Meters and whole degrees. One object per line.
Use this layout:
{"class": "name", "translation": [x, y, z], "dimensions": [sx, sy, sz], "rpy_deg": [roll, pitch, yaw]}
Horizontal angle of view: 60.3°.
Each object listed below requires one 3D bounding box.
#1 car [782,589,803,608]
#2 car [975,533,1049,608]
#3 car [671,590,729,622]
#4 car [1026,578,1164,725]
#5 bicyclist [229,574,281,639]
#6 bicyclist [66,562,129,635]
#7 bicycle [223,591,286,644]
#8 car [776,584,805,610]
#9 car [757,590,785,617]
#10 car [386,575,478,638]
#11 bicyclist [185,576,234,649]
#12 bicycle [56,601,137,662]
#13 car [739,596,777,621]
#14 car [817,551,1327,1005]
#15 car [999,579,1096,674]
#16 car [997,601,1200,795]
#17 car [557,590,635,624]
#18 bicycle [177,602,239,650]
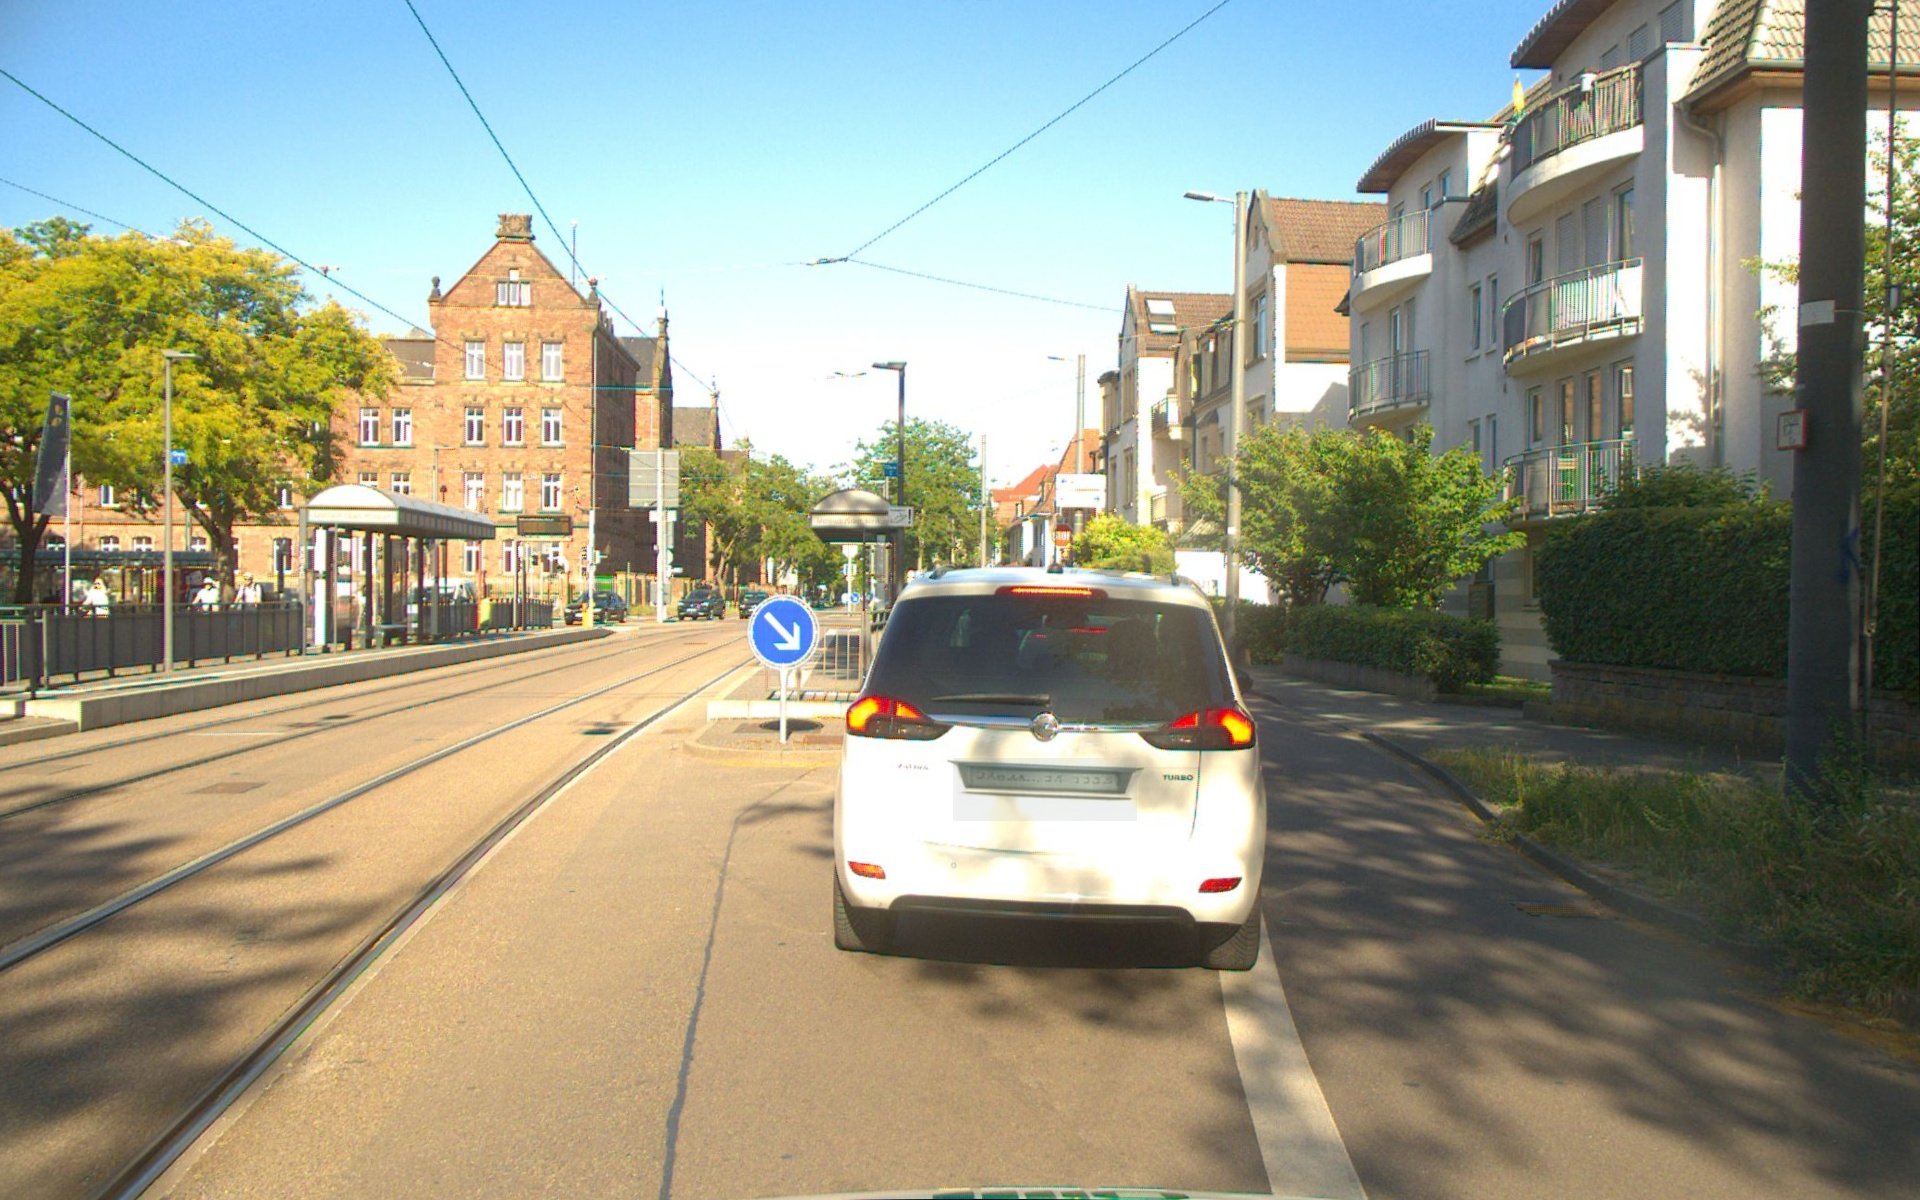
{"class": "car", "translation": [-14.671, -0.145, 144.960], "dimensions": [1.629, 1.680, 3.998], "rpy_deg": [0, 0, -3]}
{"class": "car", "translation": [1.232, -0.735, 40.309], "dimensions": [1.563, 1.663, 3.901], "rpy_deg": [2, 2, -1]}
{"class": "car", "translation": [-13.832, 0.320, 88.235], "dimensions": [1.788, 1.645, 4.331], "rpy_deg": [1, -1, 9]}
{"class": "car", "translation": [1.718, 0.588, 21.039], "dimensions": [1.536, 1.643, 3.786], "rpy_deg": [2, 0, 5]}
{"class": "bicyclist", "translation": [-17.098, 0.153, 40.153], "dimensions": [0.745, 1.563, 1.347], "rpy_deg": [0, 0, -5]}
{"class": "bicyclist", "translation": [-18.086, -0.027, 34.709], "dimensions": [0.742, 1.496, 1.189], "rpy_deg": [1, 0, -5]}
{"class": "bicycle", "translation": [-17.098, 0.420, 40.156], "dimensions": [0.761, 1.252, 2.087], "rpy_deg": [0, 0, -4]}
{"class": "car", "translation": [-13.934, -0.243, 135.880], "dimensions": [1.952, 2.049, 4.000], "rpy_deg": [0, 0, 0]}
{"class": "car", "translation": [-13.176, 0.252, 115.515], "dimensions": [1.791, 1.819, 4.322], "rpy_deg": [1, -1, -5]}
{"class": "car", "translation": [-15.908, 0.192, 49.989], "dimensions": [1.791, 1.819, 4.250], "rpy_deg": [0, 0, -6]}
{"class": "bicyclist", "translation": [-18.224, 0.286, 40.200], "dimensions": [0.637, 1.703, 1.232], "rpy_deg": [2, 1, -3]}
{"class": "bicycle", "translation": [-18.098, 0.640, 34.716], "dimensions": [0.799, 1.219, 1.950], "rpy_deg": [1, 0, -5]}
{"class": "car", "translation": [-12.412, 0.527, 101.687], "dimensions": [1.789, 1.471, 4.327], "rpy_deg": [1, -1, 0]}
{"class": "car", "translation": [0.565, 0.634, 8.074], "dimensions": [1.838, 1.613, 4.002], "rpy_deg": [1, 0, 5]}
{"class": "car", "translation": [1.645, 0.478, 32.092], "dimensions": [1.563, 1.663, 3.900], "rpy_deg": [2, 0, -1]}
{"class": "car", "translation": [1.230, 0.761, 14.780], "dimensions": [1.536, 1.426, 3.786], "rpy_deg": [2, 0, 5]}
{"class": "car", "translation": [-15.922, 0.268, 72.498], "dimensions": [1.759, 1.406, 4.499], "rpy_deg": [0, 1, 10]}
{"class": "bicycle", "translation": [-18.224, 0.617, 40.138], "dimensions": [0.656, 1.091, 2.014], "rpy_deg": [1, 1, -3]}
